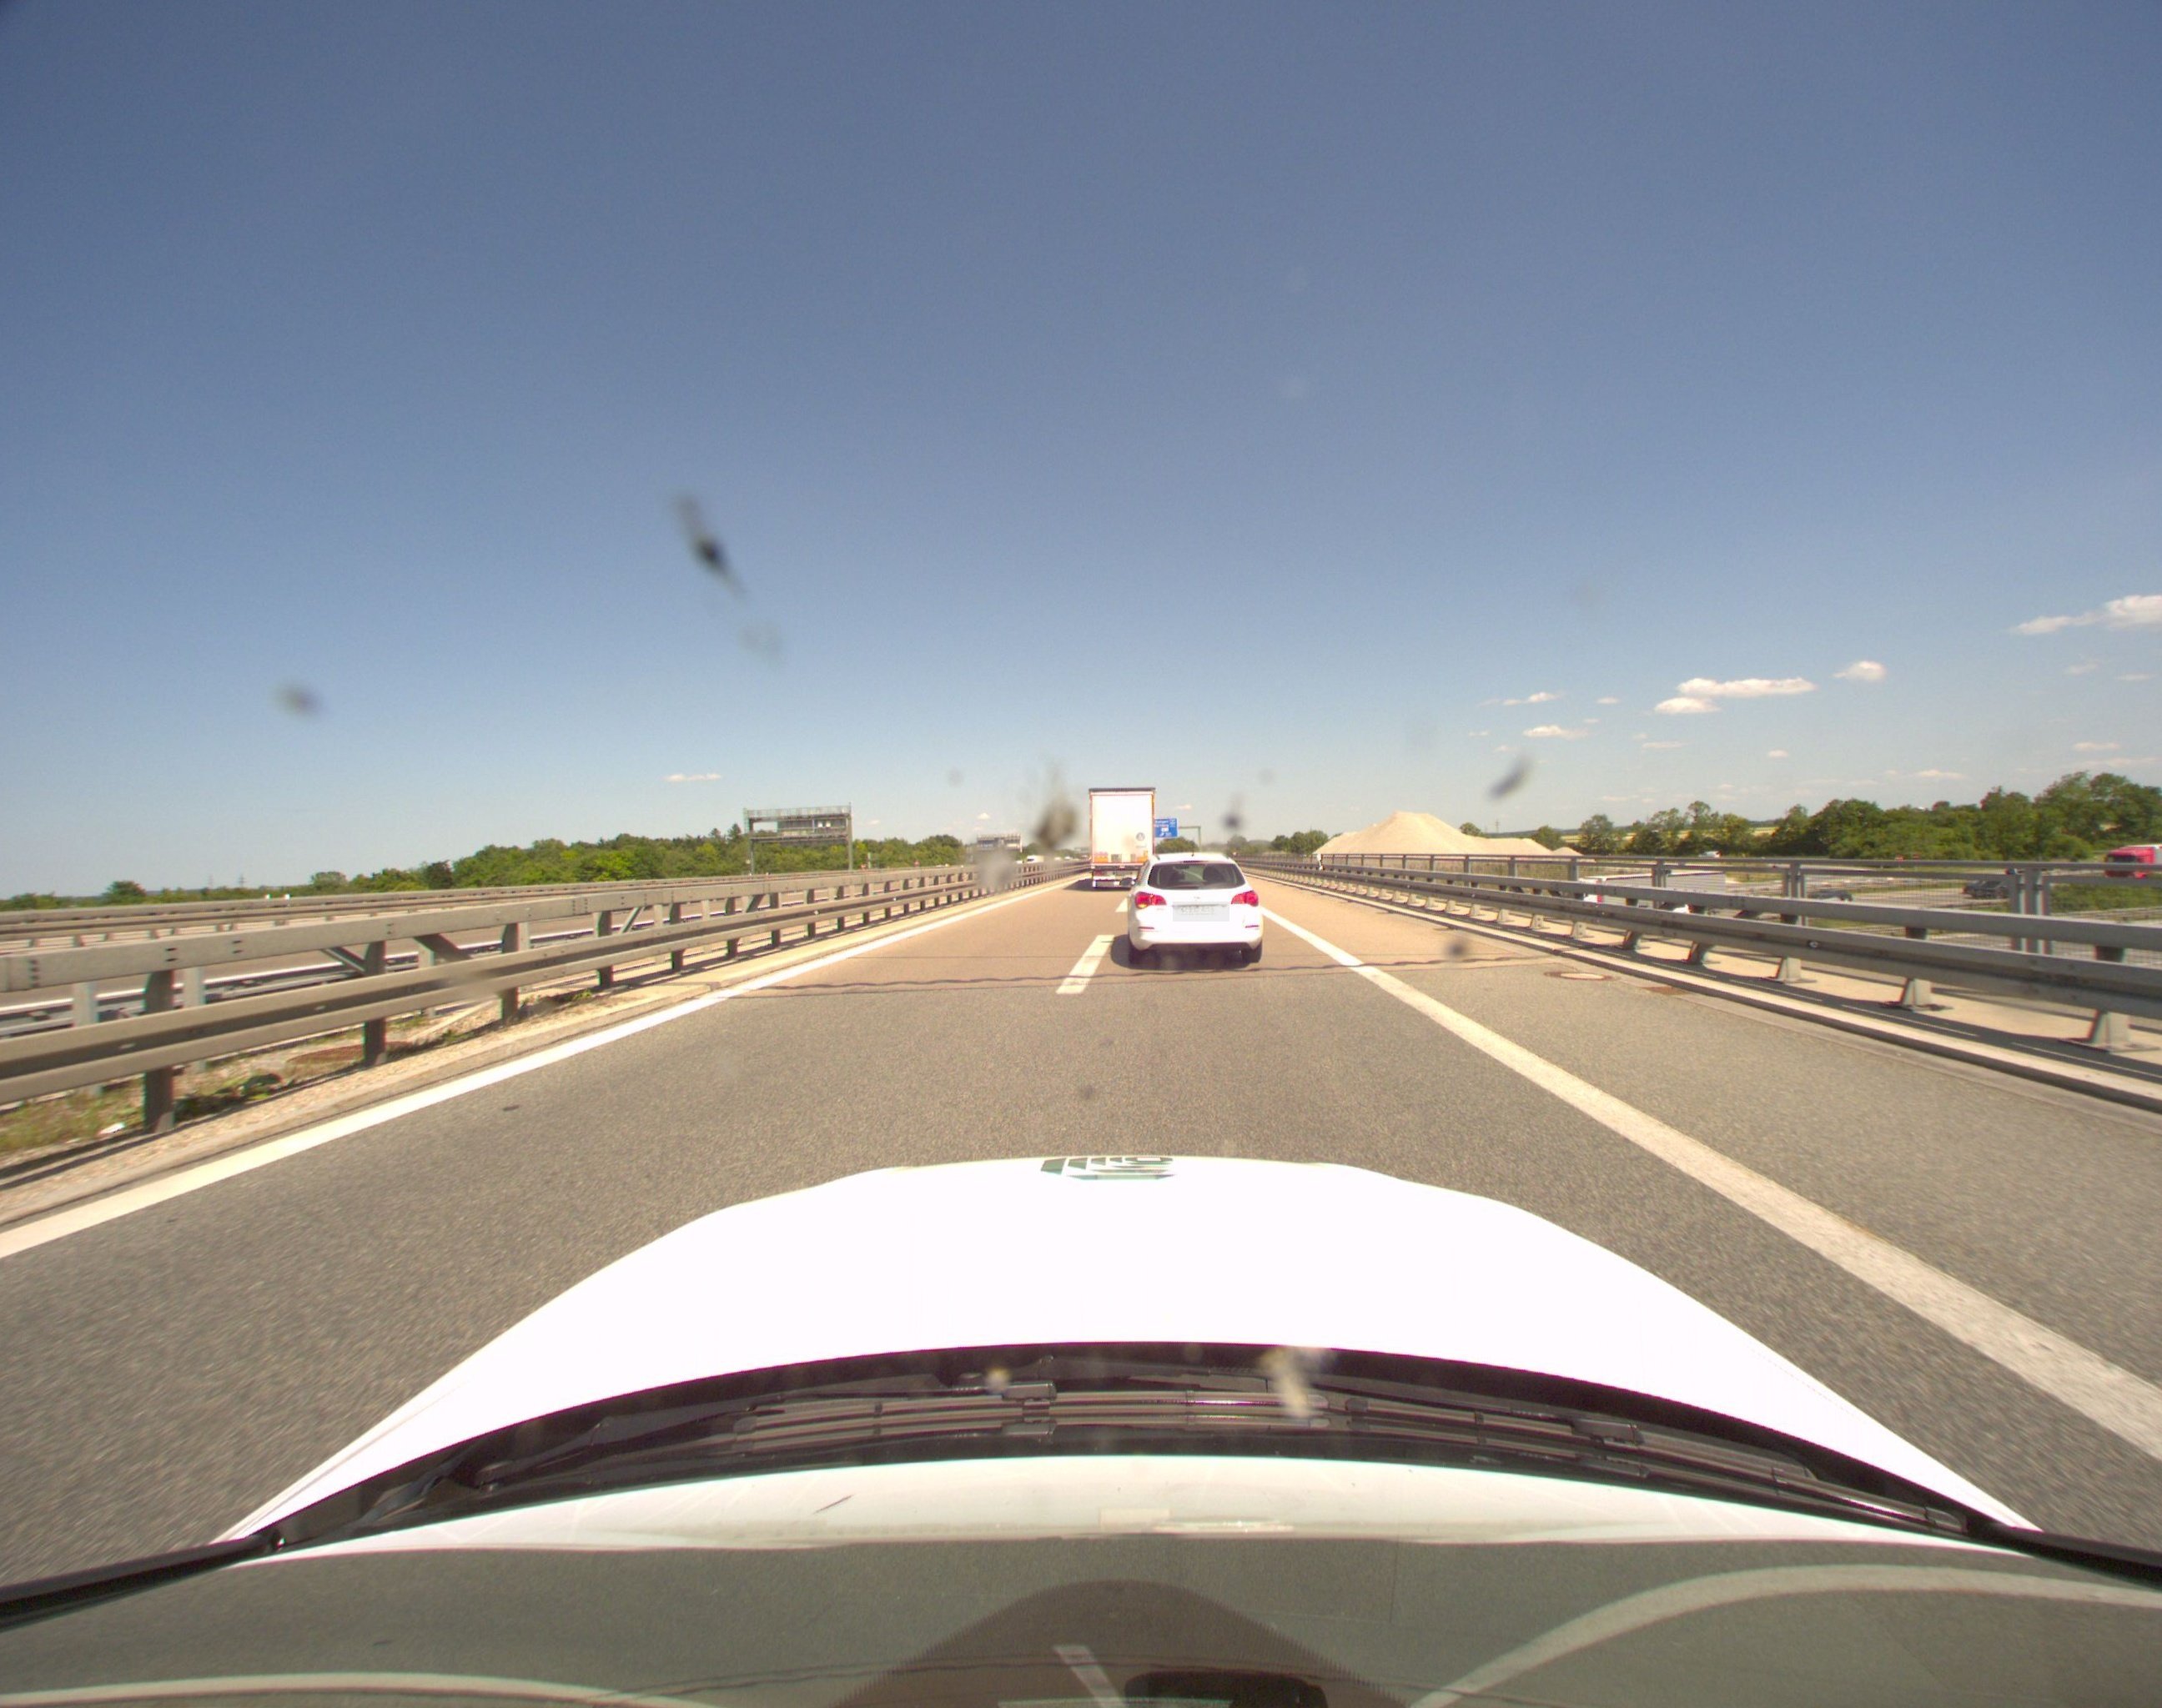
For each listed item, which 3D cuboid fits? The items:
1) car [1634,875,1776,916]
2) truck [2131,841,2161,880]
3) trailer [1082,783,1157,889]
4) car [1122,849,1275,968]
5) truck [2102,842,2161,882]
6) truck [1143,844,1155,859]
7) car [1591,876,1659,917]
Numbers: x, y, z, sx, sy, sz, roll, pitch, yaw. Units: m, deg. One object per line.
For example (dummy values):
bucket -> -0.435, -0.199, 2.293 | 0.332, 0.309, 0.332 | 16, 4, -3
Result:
car -> 61.963, 4.081, 80.924 | 12.947, 3.964, 2.479 | 0, -1, -5
truck -> 122.427, 0.495, 89.185 | 12.520, 4.064, 2.864 | -3, 0, -6
trailer -> 1.901, -0.604, 37.458 | 2.899, 4.145, 11.269 | 0, -1, 4
car -> 1.563, 0.689, 12.197 | 1.846, 1.443, 4.375 | -1, 0, 3
truck -> 115.504, 0.840, 88.467 | 5.930, 4.064, 2.864 | -3, 0, -6
truck -> 19.720, -0.736, 235.648 | 3.522, 4.145, 11.272 | 1, -1, 5
car -> 53.457, 4.143, 80.138 | 5.134, 3.964, 2.479 | 0, -1, -5
